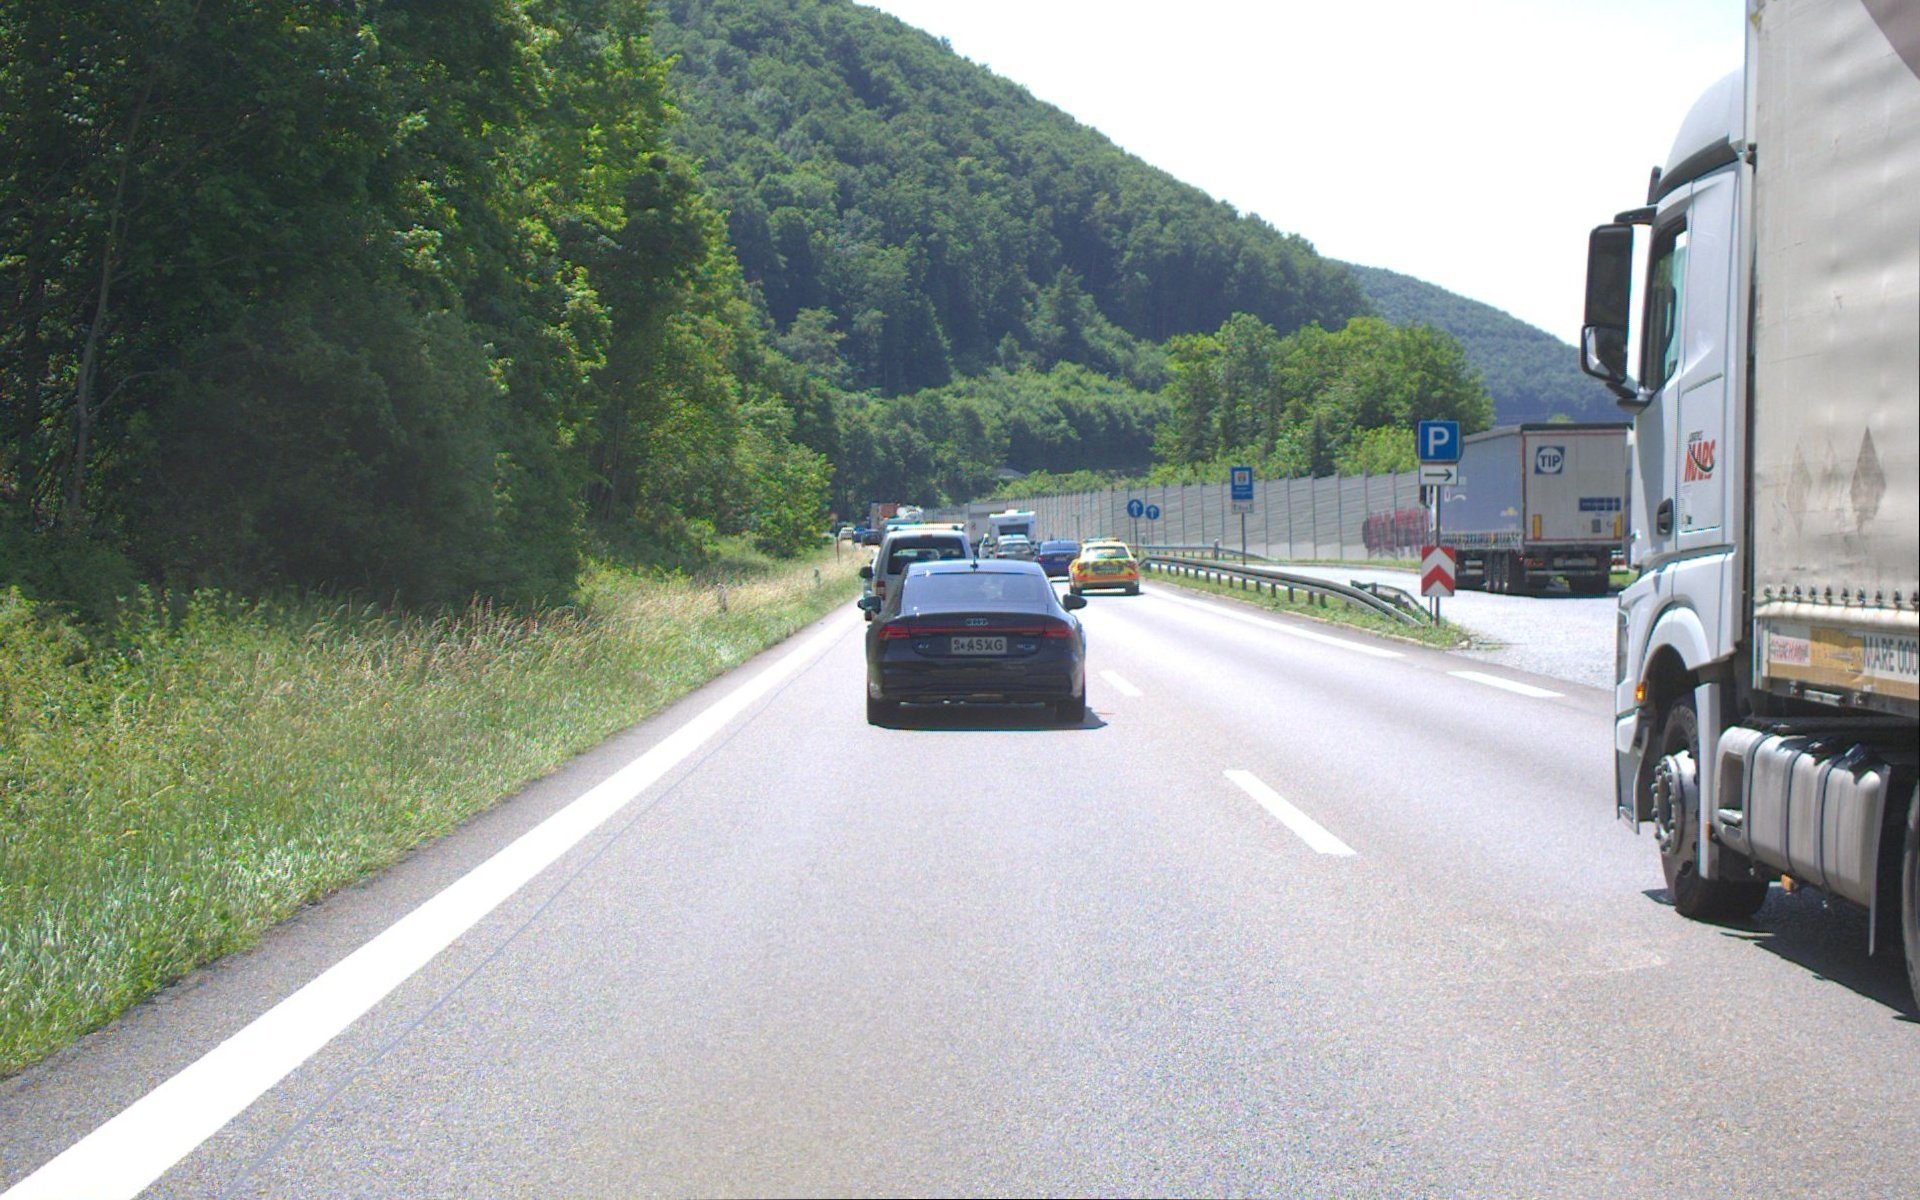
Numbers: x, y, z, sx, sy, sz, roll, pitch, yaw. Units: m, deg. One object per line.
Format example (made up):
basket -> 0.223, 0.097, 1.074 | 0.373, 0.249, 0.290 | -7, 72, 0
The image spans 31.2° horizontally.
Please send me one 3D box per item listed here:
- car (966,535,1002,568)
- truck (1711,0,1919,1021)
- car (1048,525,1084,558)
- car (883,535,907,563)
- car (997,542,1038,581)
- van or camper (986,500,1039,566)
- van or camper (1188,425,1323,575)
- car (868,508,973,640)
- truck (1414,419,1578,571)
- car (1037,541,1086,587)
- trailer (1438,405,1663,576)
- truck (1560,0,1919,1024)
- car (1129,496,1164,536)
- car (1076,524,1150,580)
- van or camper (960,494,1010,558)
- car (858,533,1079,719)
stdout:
car -> 1.385, -2.819, 199.788 | 1.993, 1.788, 4.000 | 2, 0, -1
truck -> 4.388, -0.704, 6.139 | 2.726, 4.054, 13.742 | 1, 0, -1
car -> 6.504, -3.587, 211.549 | 1.993, 2.007, 4.000 | 0, 1, -2
car -> -4.698, -3.706, 249.644 | 1.687, 2.007, 4.000 | 1, 1, -1
car -> 2.337, -1.571, 140.251 | 1.530, 1.520, 3.597 | 2, 0, 0
van or camper -> 2.605, -3.344, 172.423 | 2.429, 3.144, 5.203 | 2, 0, 0
van or camper -> 7.955, -2.648, 93.301 | 2.794, 3.828, 6.167 | 2, 0, -2
car -> -0.628, -0.421, 54.491 | 1.521, 1.961, 3.514 | 3, 1, -1
truck -> 14.173, -2.753, 91.323 | 3.411, 3.887, 5.388 | 1, 1, -1
car -> 3.489, -1.229, 118.655 | 1.530, 1.520, 3.597 | 2, 0, 0
trailer -> 14.273, -2.611, 84.119 | 3.411, 3.887, 11.152 | 1, 1, -1
truck -> 4.233, -0.739, 13.018 | 2.719, 4.054, 5.755 | 1, 0, -1
car -> 9.383, -4.224, 172.986 | 1.576, 2.007, 3.428 | 0, 1, 0
car -> 4.252, -1.348, 96.027 | 1.879, 1.493, 4.000 | 1, 1, 0
van or camper -> 1.587, -4.691, 218.562 | 2.794, 3.894, 6.167 | 2, 0, -2
car -> 0.053, 0.181, 30.190 | 1.812, 1.509, 3.515 | -1, 1, -1
